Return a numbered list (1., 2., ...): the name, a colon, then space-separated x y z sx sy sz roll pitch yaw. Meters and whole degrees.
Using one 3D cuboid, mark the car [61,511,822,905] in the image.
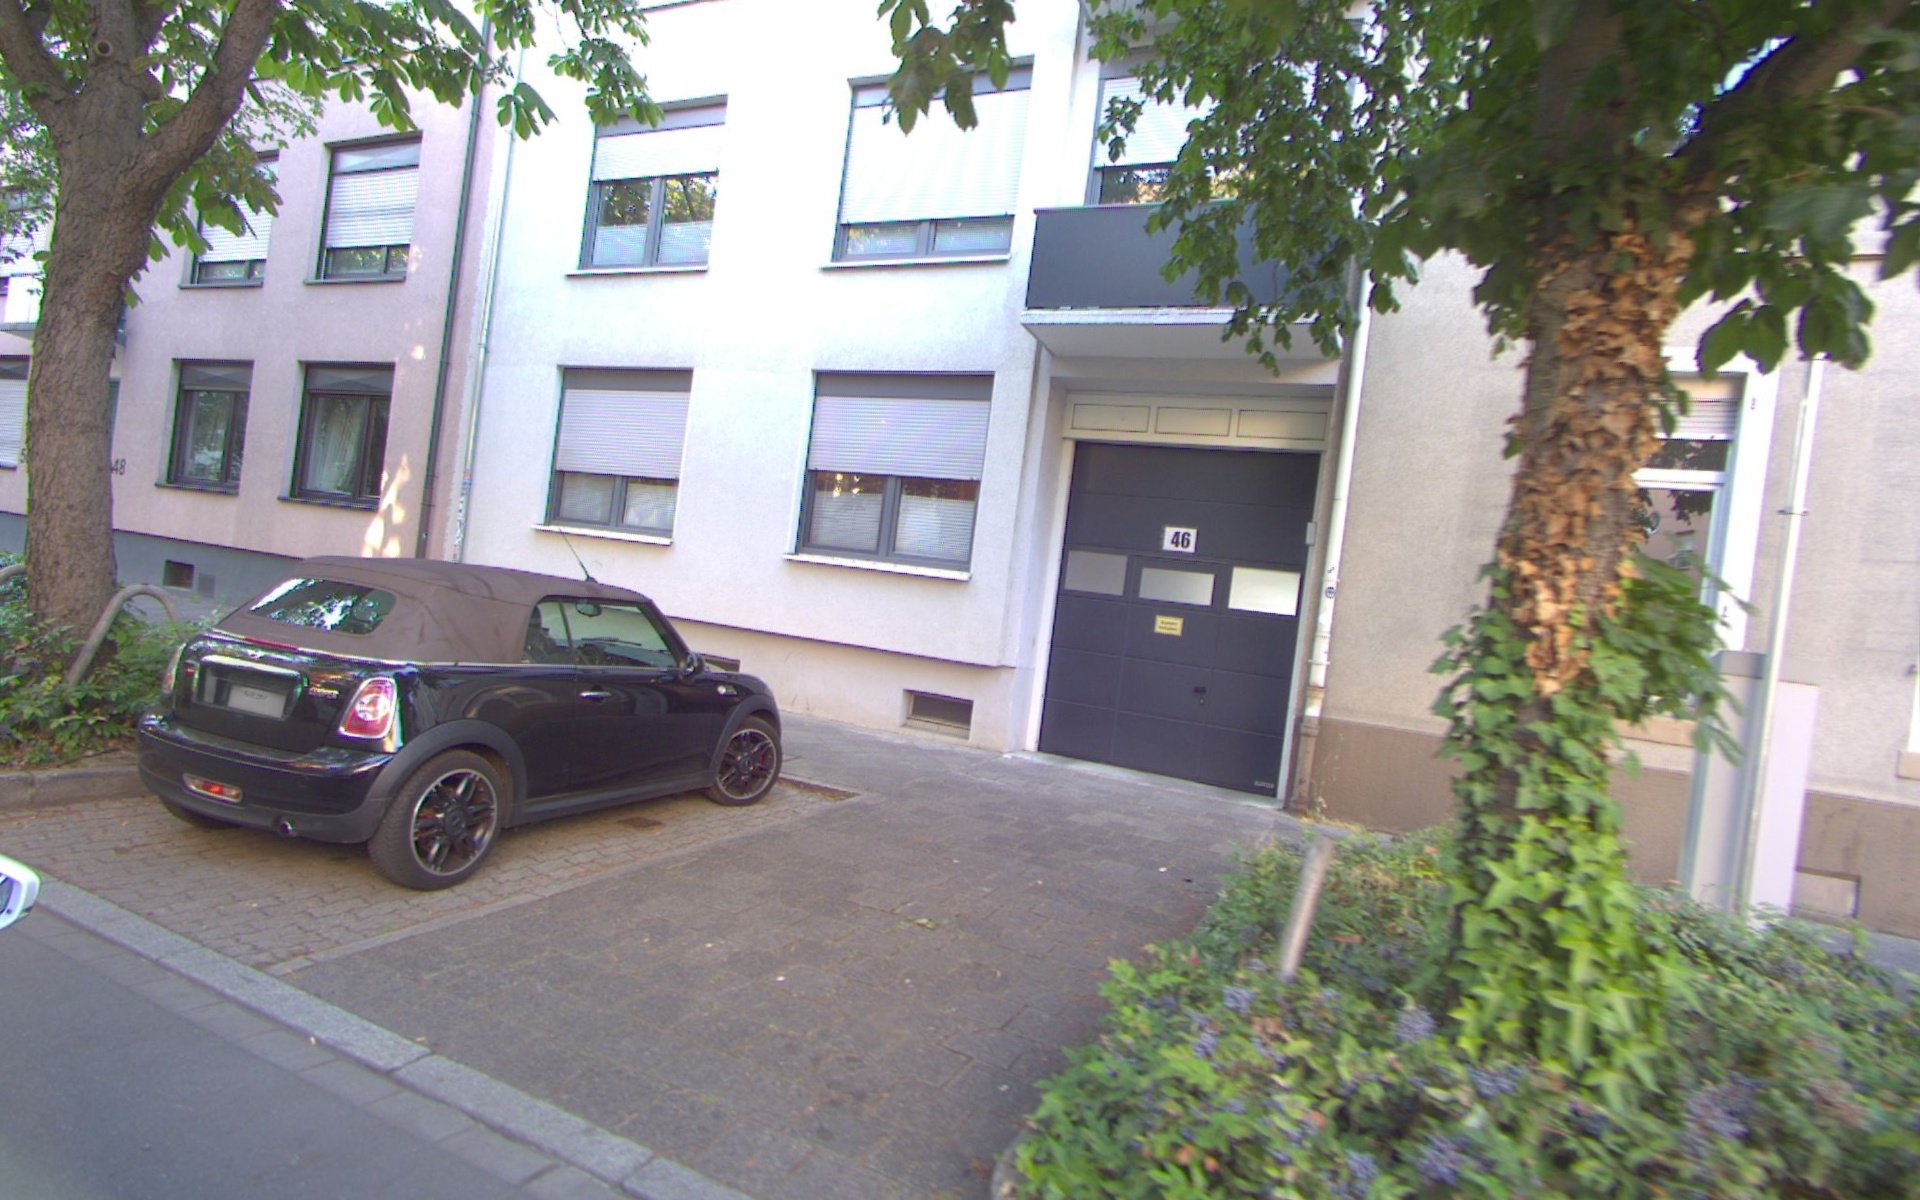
1. car: -2.485 0.500 5.822 1.634 1.380 3.622 7 -1 22
